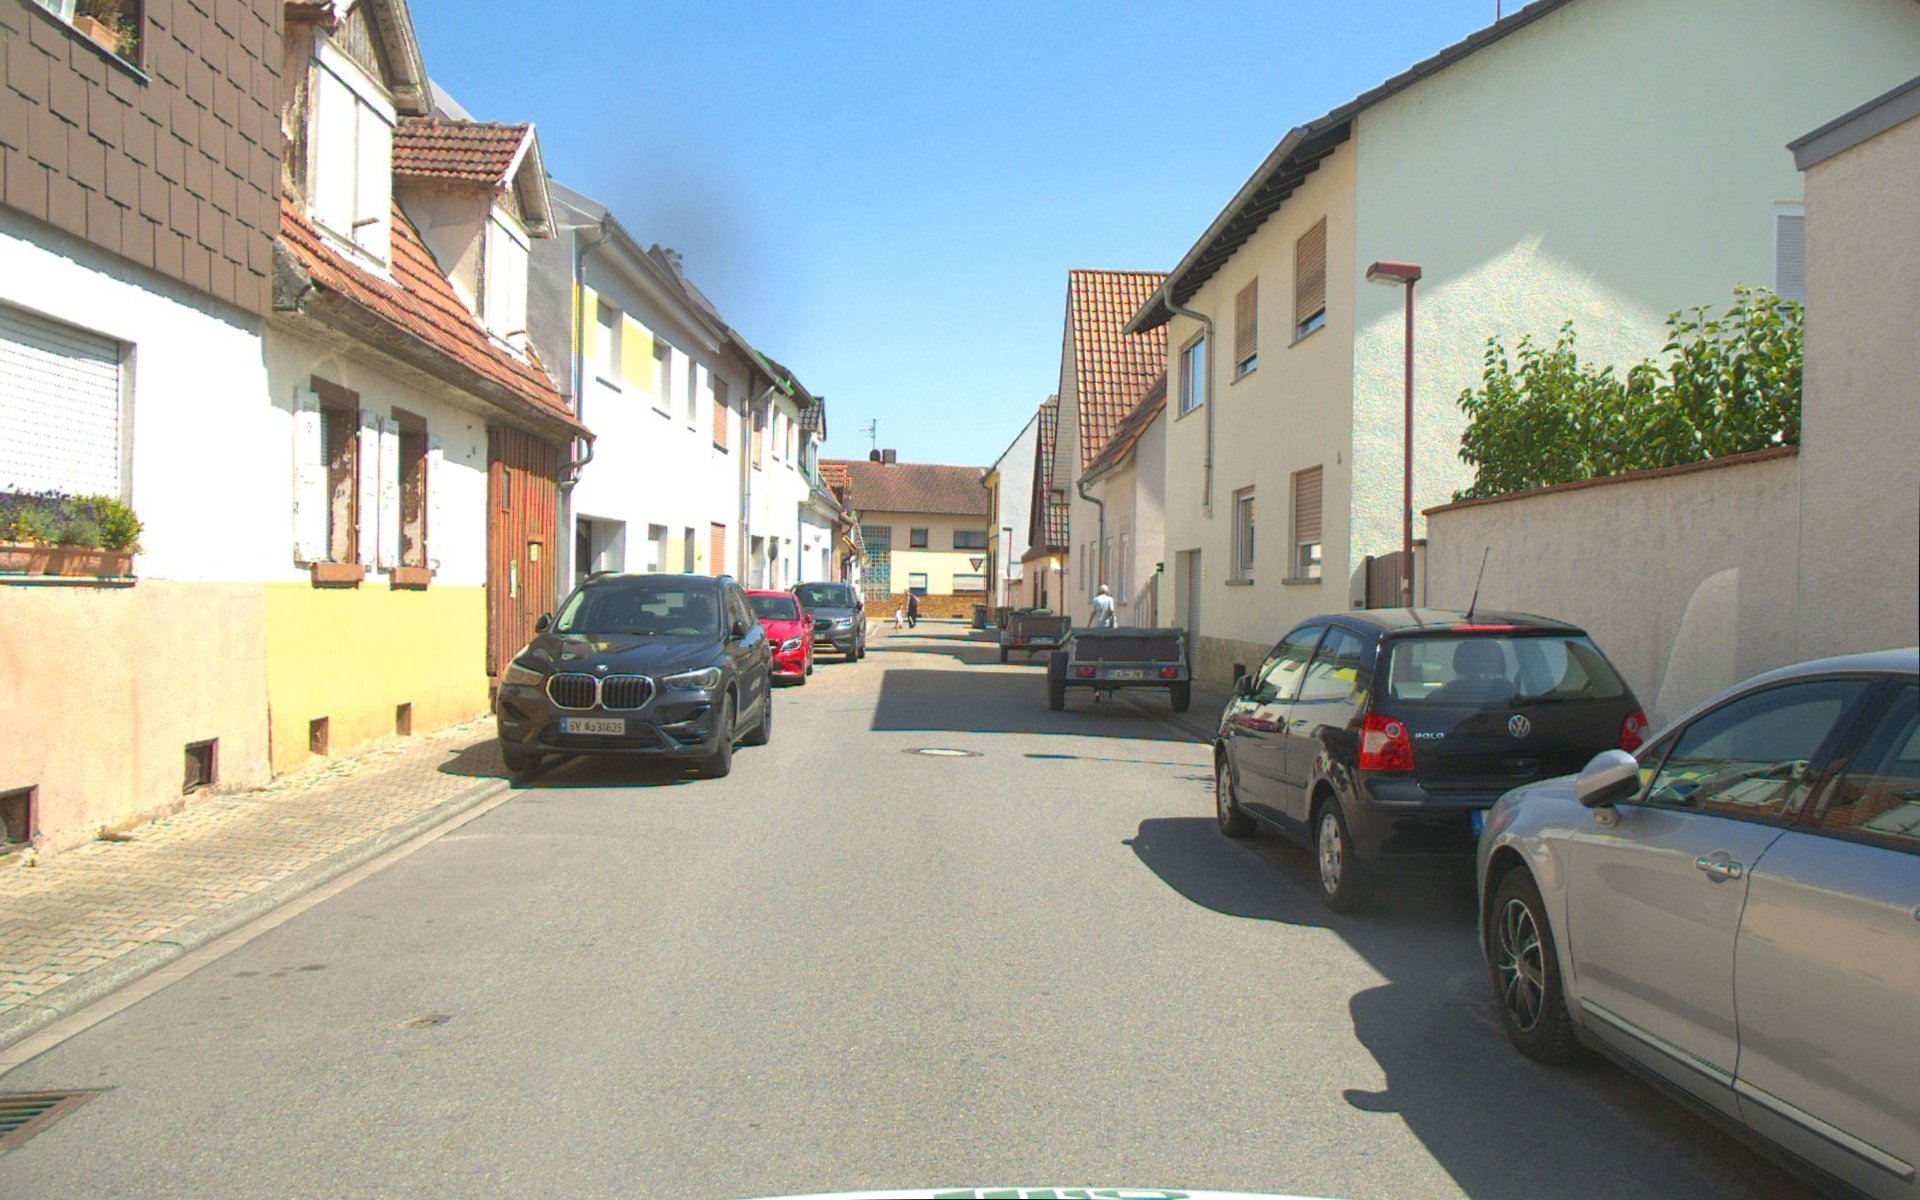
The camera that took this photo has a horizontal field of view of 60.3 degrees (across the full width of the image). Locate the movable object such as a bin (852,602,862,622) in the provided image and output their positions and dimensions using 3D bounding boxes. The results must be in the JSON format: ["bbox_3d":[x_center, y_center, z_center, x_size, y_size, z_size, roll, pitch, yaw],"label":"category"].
[{"bbox_3d":[-4.835,0.548,77.532,0.439,0.937,0.404,0,0,-4],"label":"movable object such as a bin"}]

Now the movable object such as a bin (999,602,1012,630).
[{"bbox_3d":[1.880,0.676,68.558,0.515,1.147,0.366,0,0,-4],"label":"movable object such as a bin"}]

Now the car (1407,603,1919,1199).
[{"bbox_3d":[2.853,0.784,4.487,1.755,1.507,4.931,-1,0,-2],"label":"car"}]

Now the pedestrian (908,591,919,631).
[{"bbox_3d":[-1.962,0.460,69.126,0.404,1.638,0.367,0,0,-11],"label":"pedestrian"}]

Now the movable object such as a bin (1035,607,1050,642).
[{"bbox_3d":[2.648,0.783,53.263,0.448,1.106,0.502,0,0,-2],"label":"movable object such as a bin"}]

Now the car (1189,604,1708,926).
[{"bbox_3d":[2.552,0.763,9.703,1.616,1.461,4.131,0,0,-4],"label":"car"}]

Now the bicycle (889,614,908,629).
[{"bbox_3d":[-2.548,0.889,68.799,0.436,0.577,0.931,0,0,-28],"label":"bicycle"}]

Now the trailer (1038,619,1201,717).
[{"bbox_3d":[2.018,0.840,21.810,1.780,1.109,3.481,1,0,-1],"label":"trailer"}]

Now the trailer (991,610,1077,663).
[{"bbox_3d":[1.593,0.784,36.629,1.665,1.051,3.480,1,0,-1],"label":"trailer"}]

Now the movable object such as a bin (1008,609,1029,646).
[{"bbox_3d":[1.654,0.775,46.768,0.573,1.051,0.595,0,0,-3],"label":"movable object such as a bin"}]

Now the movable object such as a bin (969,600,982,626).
[{"bbox_3d":[0.677,0.561,72.261,0.558,1.147,0.453,0,0,-4],"label":"movable object such as a bin"}]

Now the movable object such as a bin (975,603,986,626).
[{"bbox_3d":[0.893,0.645,71.659,0.415,0.992,0.473,0,0,-4],"label":"movable object such as a bin"}]

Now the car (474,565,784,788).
[{"bbox_3d":[-2.636,0.554,14.257,1.763,1.601,4.614,0,0,-1],"label":"car"}]

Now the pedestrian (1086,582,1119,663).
[{"bbox_3d":[2.854,0.462,33.189,0.583,1.592,0.556,1,-4,-4],"label":"pedestrian"}]

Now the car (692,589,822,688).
[{"bbox_3d":[-3.224,0.577,26.962,1.764,1.466,4.485,0,0,-3],"label":"car"}]

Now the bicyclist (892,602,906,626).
[{"bbox_3d":[-2.540,0.573,68.809,0.456,0.976,0.348,1,-1,-30],"label":"bicyclist"}]

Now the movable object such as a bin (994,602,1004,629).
[{"bbox_3d":[1.683,0.675,71.119,0.417,1.147,0.413,0,0,-4],"label":"movable object such as a bin"}]

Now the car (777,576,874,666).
[{"bbox_3d":[-2.760,0.412,34.738,1.763,1.733,4.486,-1,0,-1],"label":"car"}]
